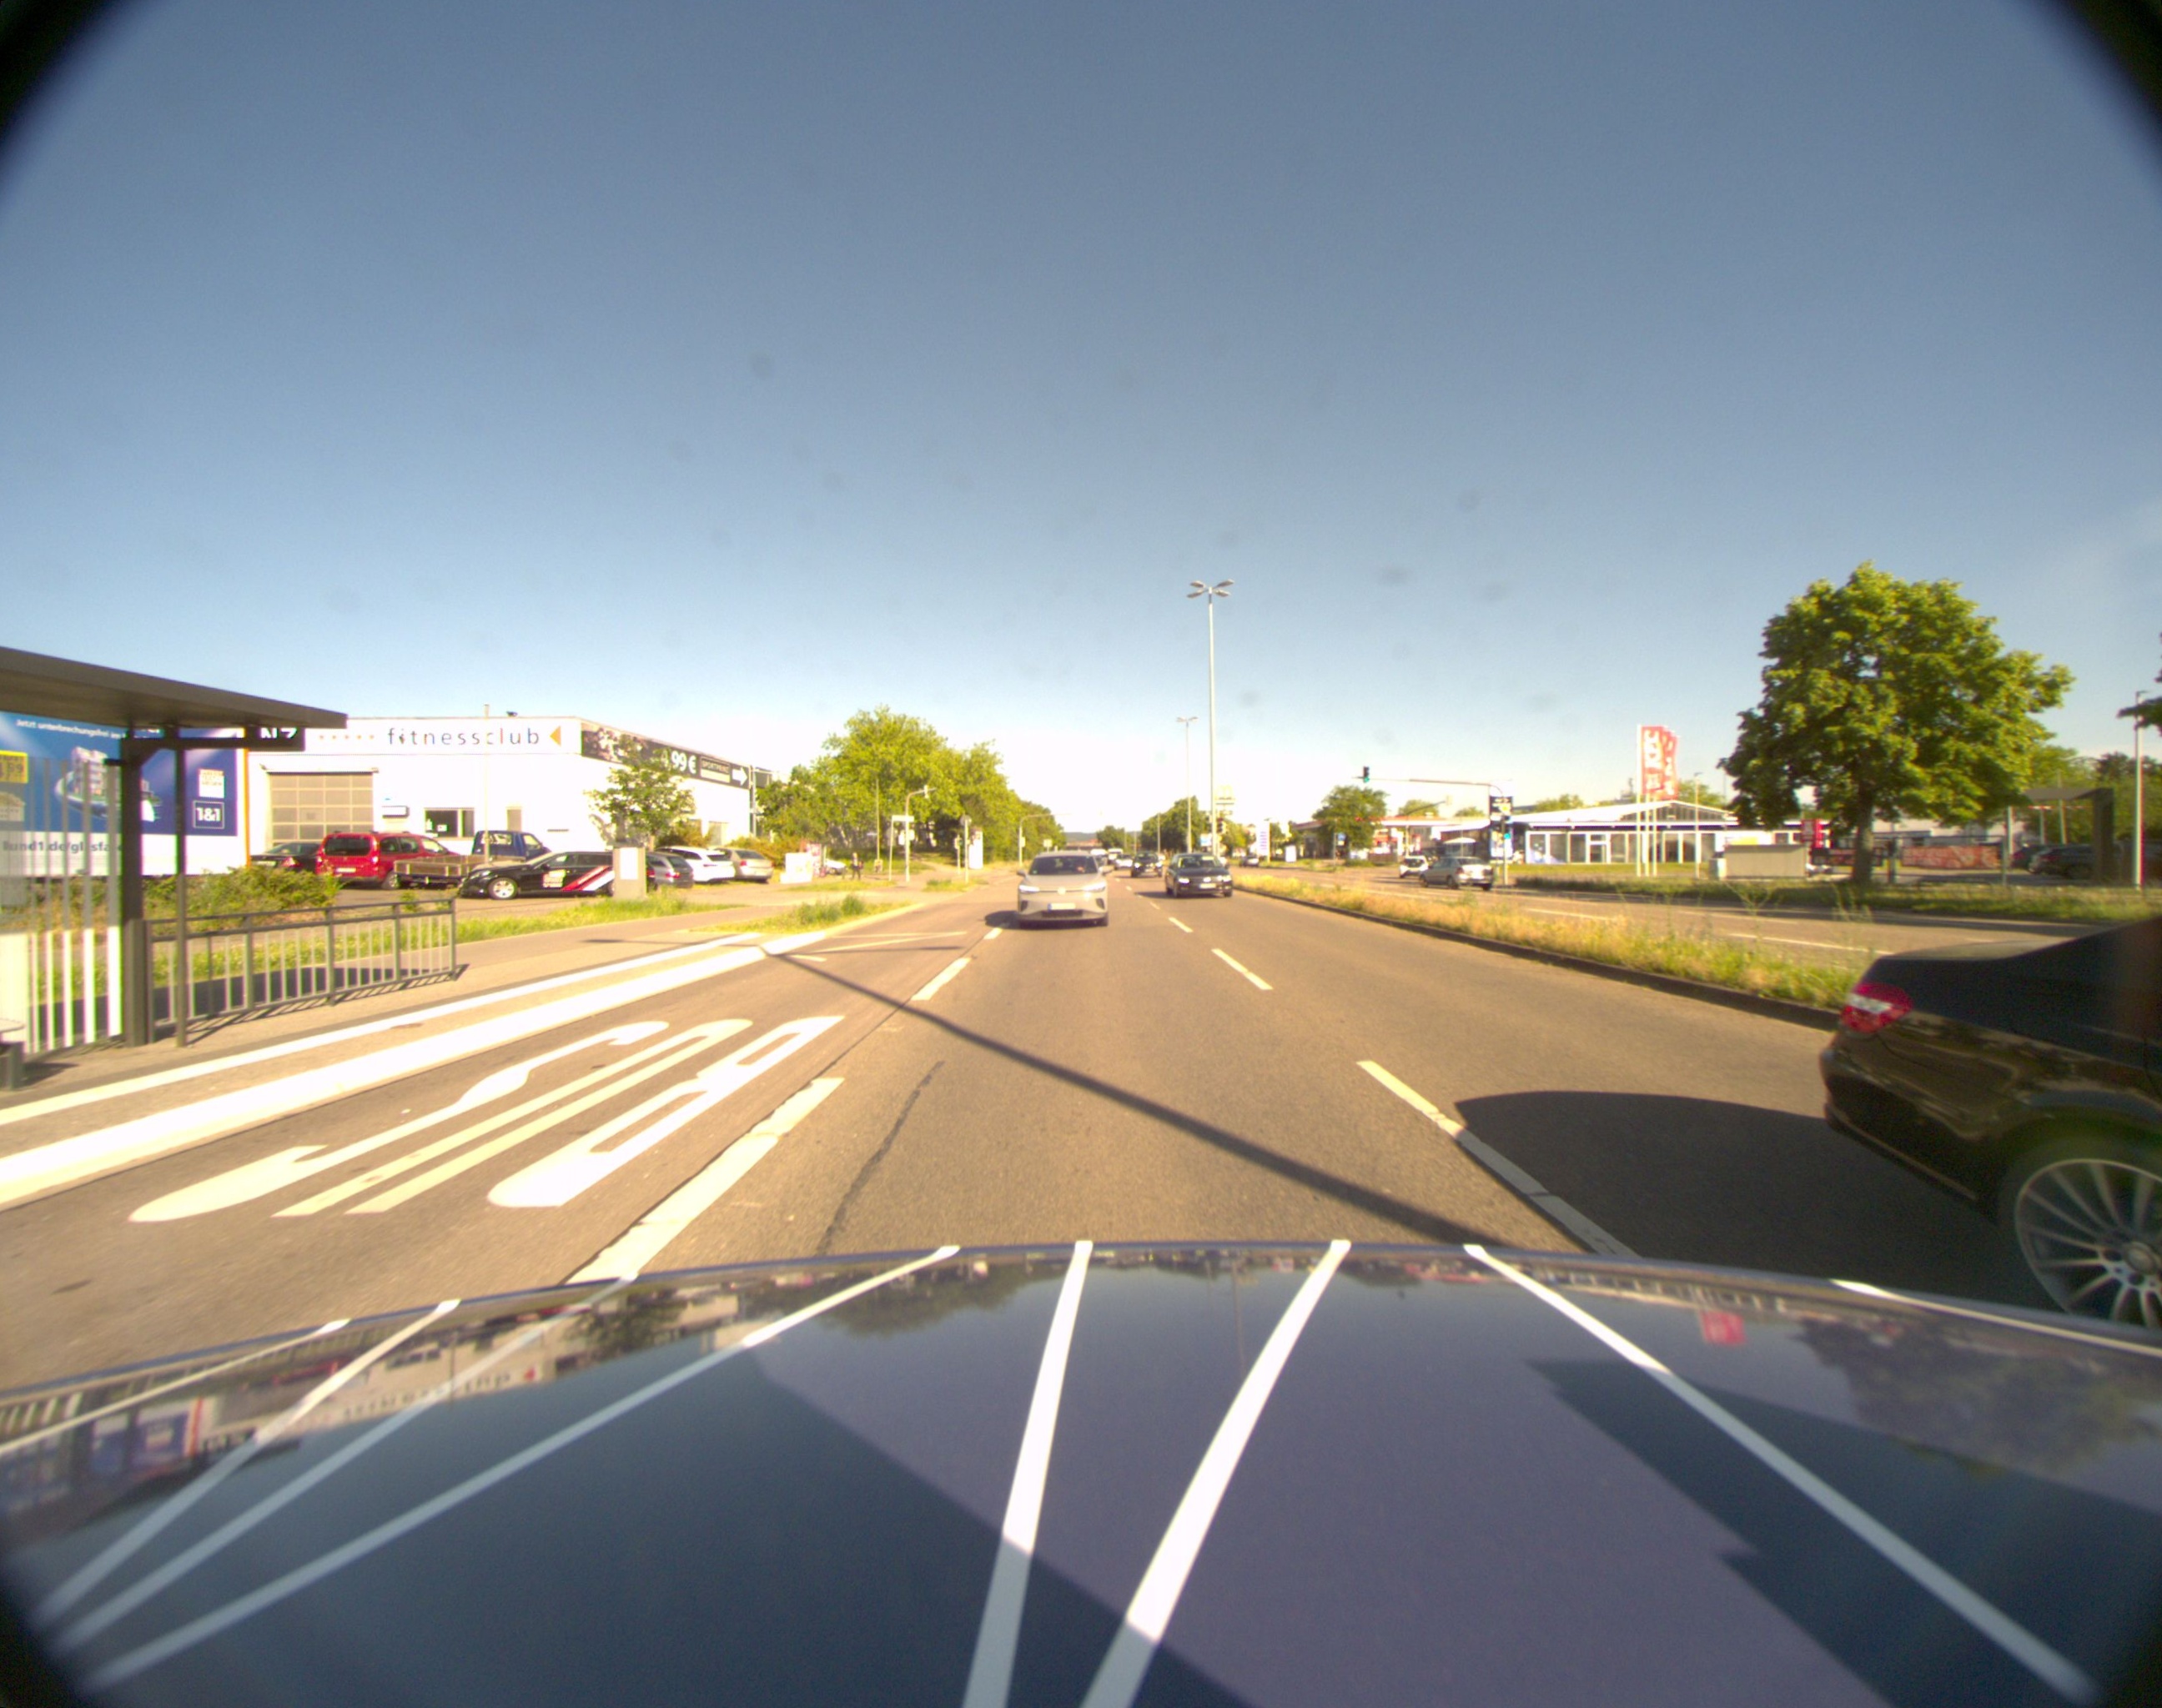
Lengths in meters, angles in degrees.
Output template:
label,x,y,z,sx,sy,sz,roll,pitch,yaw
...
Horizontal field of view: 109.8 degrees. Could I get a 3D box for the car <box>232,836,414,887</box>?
label,x,y,z,sx,sy,sz,roll,pitch,yaw
car,-24.376,0.168,24.688,1.771,1.245,4.213,5,3,-2

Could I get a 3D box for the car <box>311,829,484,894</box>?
label,x,y,z,sx,sy,sz,roll,pitch,yaw
car,-22.057,0.198,24.784,1.898,1.850,4.215,3,1,-2

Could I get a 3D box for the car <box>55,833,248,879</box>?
label,x,y,z,sx,sy,sz,roll,pitch,yaw
car,-32.034,0.067,26.291,4.213,1.400,1.994,2,0,0

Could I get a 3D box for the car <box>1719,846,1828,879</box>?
label,x,y,z,sx,sy,sz,roll,pitch,yaw
car,36.905,0.450,40.556,1.899,1.652,4.122,-3,1,-42

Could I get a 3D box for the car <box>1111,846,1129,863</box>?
label,x,y,z,sx,sy,sz,roll,pitch,yaw
car,5.236,0.066,102.367,2.089,2.230,3.999,-2,1,1

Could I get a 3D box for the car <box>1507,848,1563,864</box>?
label,x,y,z,sx,sy,sz,roll,pitch,yaw
car,43.291,0.221,72.494,4.116,1.424,1.901,1,1,1

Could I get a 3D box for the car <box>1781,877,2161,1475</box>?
label,x,y,z,sx,sy,sz,roll,pitch,yaw
car,3.727,0.852,0.550,1.964,1.474,4.918,-1,0,1

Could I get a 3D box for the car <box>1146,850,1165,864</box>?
label,x,y,z,sx,sy,sz,roll,pitch,yaw
car,8.274,0.285,84.245,1.790,1.447,4.116,0,0,1

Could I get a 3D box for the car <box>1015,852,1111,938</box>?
label,x,y,z,sx,sy,sz,roll,pitch,yaw
car,-0.316,0.798,16.990,1.848,1.615,4.265,-1,0,1

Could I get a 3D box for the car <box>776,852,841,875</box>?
label,x,y,z,sx,sy,sz,roll,pitch,yaw
car,-20.069,0.692,56.081,4.100,1.636,1.901,0,2,1

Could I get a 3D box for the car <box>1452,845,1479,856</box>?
label,x,y,z,sx,sy,sz,roll,pitch,yaw
car,57.017,-0.535,112.804,1.900,1.581,4.119,-1,0,-1

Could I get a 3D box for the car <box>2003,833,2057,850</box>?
label,x,y,z,sx,sy,sz,roll,pitch,yaw
car,116.661,-1.560,93.481,1.905,2.081,4.107,0,1,-39

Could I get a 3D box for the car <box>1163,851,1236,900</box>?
label,x,y,z,sx,sy,sz,roll,pitch,yaw
car,3.872,0.662,25.482,1.848,1.445,4.265,-1,0,1

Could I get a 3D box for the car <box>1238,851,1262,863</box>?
label,x,y,z,sx,sy,sz,roll,pitch,yaw
car,20.695,0.354,93.164,1.998,1.368,4.622,0,1,0

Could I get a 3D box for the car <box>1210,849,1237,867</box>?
label,x,y,z,sx,sy,sz,roll,pitch,yaw
car,14.128,0.373,75.391,1.879,1.632,4.170,1,1,0

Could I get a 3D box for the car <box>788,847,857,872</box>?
label,x,y,z,sx,sy,sz,roll,pitch,yaw
car,-20.107,0.412,59.196,4.692,1.923,1.872,-1,1,1

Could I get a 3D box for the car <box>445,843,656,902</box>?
label,x,y,z,sx,sy,sz,roll,pitch,yaw
car,-15.615,0.536,22.593,1.895,1.522,4.847,3,1,44

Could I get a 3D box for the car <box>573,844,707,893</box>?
label,x,y,z,sx,sy,sz,roll,pitch,yaw
car,-15.674,0.472,27.127,3.614,1.283,1.841,6,2,2

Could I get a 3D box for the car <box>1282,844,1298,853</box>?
label,x,y,z,sx,sy,sz,roll,pitch,yaw
car,38.699,-0.949,140.514,1.762,1.604,4.119,1,1,-1

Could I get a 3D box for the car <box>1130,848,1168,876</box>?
label,x,y,z,sx,sy,sz,roll,pitch,yaw
car,4.304,0.476,48.796,1.998,1.674,4.695,-2,1,1

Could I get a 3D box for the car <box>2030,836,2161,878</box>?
label,x,y,z,sx,sy,sz,roll,pitch,yaw
car,43.240,0.127,31.843,1.899,1.652,4.230,-3,1,-42

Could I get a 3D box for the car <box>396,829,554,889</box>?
label,x,y,z,sx,sy,sz,roll,pitch,yaw
car,-20.131,0.118,25.546,1.687,1.773,4.594,3,1,-2

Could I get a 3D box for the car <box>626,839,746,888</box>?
label,x,y,z,sx,sy,sz,roll,pitch,yaw
car,-15.732,0.358,30.343,3.924,1.444,1.726,7,2,12

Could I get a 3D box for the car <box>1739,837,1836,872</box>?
label,x,y,z,sx,sy,sz,roll,pitch,yaw
car,40.230,0.043,43.319,1.851,1.840,3.820,-3,1,-39

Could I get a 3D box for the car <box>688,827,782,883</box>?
label,x,y,z,sx,sy,sz,roll,pitch,yaw
car,-15.254,0.033,33.458,3.986,2.002,1.690,7,1,33

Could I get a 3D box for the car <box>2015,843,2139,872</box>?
label,x,y,z,sx,sy,sz,roll,pitch,yaw
car,55.253,0.217,42.288,1.887,1.510,3.989,-3,1,-44

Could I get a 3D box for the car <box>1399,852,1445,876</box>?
label,x,y,z,sx,sy,sz,roll,pitch,yaw
car,22.104,0.600,49.158,1.994,1.465,4.204,0,1,34

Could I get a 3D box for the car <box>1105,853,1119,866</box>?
label,x,y,z,sx,sy,sz,roll,pitch,yaw
car,4.690,0.828,116.734,1.998,2.002,3.999,-2,1,0

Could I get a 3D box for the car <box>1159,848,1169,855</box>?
label,x,y,z,sx,sy,sz,roll,pitch,yaw
car,18.291,-0.529,167.681,1.900,1.590,4.266,1,1,1

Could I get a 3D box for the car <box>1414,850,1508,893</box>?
label,x,y,z,sx,sy,sz,roll,pitch,yaw
car,16.383,0.703,33.006,1.998,1.674,4.176,1,1,0

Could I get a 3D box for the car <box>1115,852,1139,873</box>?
label,x,y,z,sx,sy,sz,roll,pitch,yaw
car,4.253,0.747,71.100,1.998,1.779,4.270,-2,1,1

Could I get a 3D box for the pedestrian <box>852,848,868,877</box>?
label,x,y,z,sx,sy,sz,roll,pitch,yaw
pedestrian,-13.319,0.494,45.780,0.759,1.706,0.617,0,1,0
